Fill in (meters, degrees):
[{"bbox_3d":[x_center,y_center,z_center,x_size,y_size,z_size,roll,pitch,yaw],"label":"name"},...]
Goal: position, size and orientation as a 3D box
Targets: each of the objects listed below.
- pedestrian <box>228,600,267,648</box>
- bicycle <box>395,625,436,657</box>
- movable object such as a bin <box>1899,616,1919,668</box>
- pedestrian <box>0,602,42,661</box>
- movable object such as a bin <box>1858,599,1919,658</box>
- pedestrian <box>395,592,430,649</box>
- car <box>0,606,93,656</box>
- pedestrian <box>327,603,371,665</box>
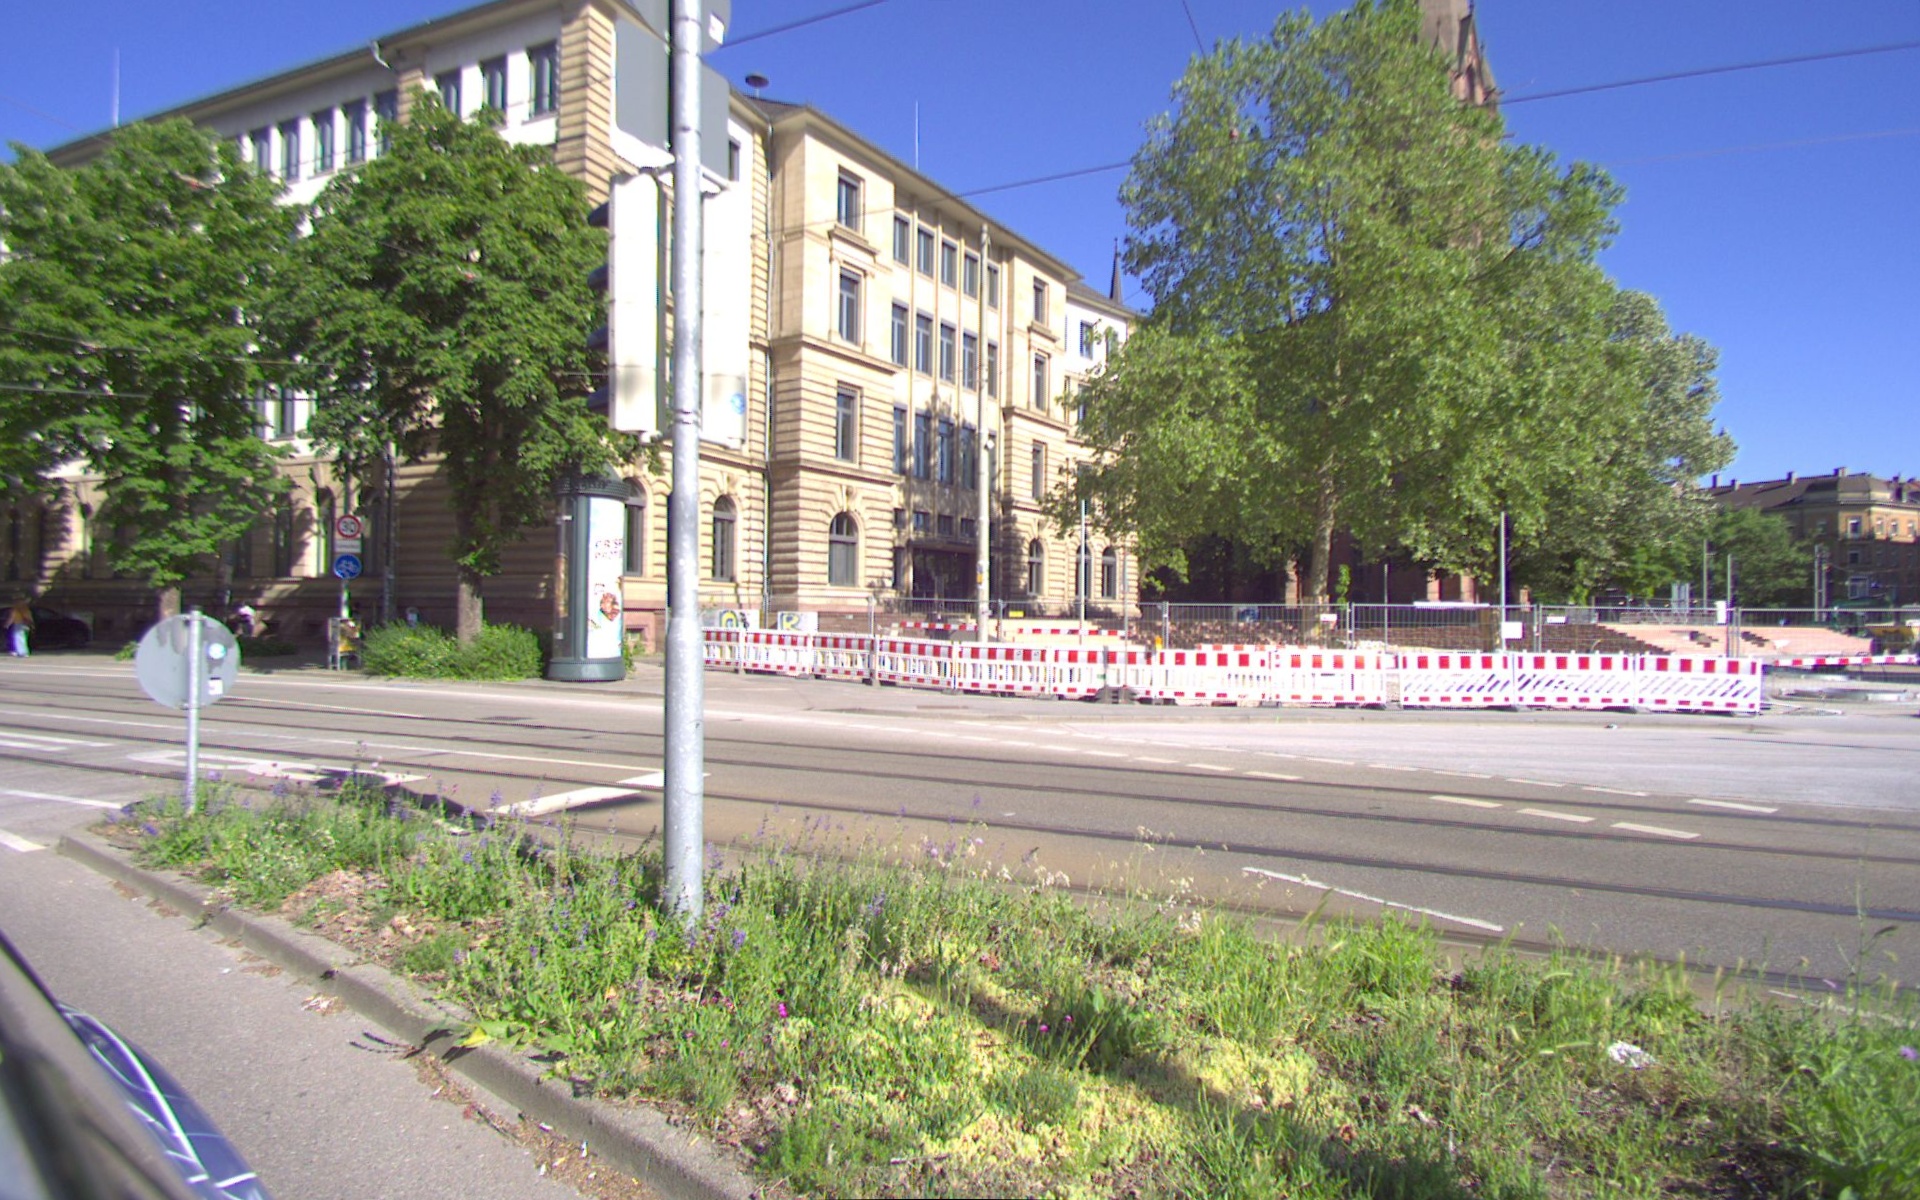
[{"bbox_3d":[-23.907,0.797,33.981,0.852,1.578,0.669,0,3,20],"label":"pedestrian"},{"bbox_3d":[-16.597,1.255,30.866,1.354,0.910,0.394,1,0,27],"label":"bicycle"},{"bbox_3d":[46.240,1.958,47.297,4.156,2.364,1.900,1,0,-23],"label":"movable object such as a bin"},{"bbox_3d":[-27.952,0.948,29.932,1.026,1.682,0.766,-4,-5,20],"label":"pedestrian"},{"bbox_3d":[54.089,1.584,57.342,5.156,3.196,3.129,0,0,-28],"label":"movable object such as a bin"},{"bbox_3d":[-15.360,0.569,28.413,0.650,1.574,0.574,0,-2,25],"label":"pedestrian"},{"bbox_3d":[-31.472,1.006,33.651,1.893,1.586,4.113,1,-1,-3],"label":"car"},{"bbox_3d":[-17.053,0.944,28.241,0.844,1.682,0.721,2,0,35],"label":"pedestrian"}]
